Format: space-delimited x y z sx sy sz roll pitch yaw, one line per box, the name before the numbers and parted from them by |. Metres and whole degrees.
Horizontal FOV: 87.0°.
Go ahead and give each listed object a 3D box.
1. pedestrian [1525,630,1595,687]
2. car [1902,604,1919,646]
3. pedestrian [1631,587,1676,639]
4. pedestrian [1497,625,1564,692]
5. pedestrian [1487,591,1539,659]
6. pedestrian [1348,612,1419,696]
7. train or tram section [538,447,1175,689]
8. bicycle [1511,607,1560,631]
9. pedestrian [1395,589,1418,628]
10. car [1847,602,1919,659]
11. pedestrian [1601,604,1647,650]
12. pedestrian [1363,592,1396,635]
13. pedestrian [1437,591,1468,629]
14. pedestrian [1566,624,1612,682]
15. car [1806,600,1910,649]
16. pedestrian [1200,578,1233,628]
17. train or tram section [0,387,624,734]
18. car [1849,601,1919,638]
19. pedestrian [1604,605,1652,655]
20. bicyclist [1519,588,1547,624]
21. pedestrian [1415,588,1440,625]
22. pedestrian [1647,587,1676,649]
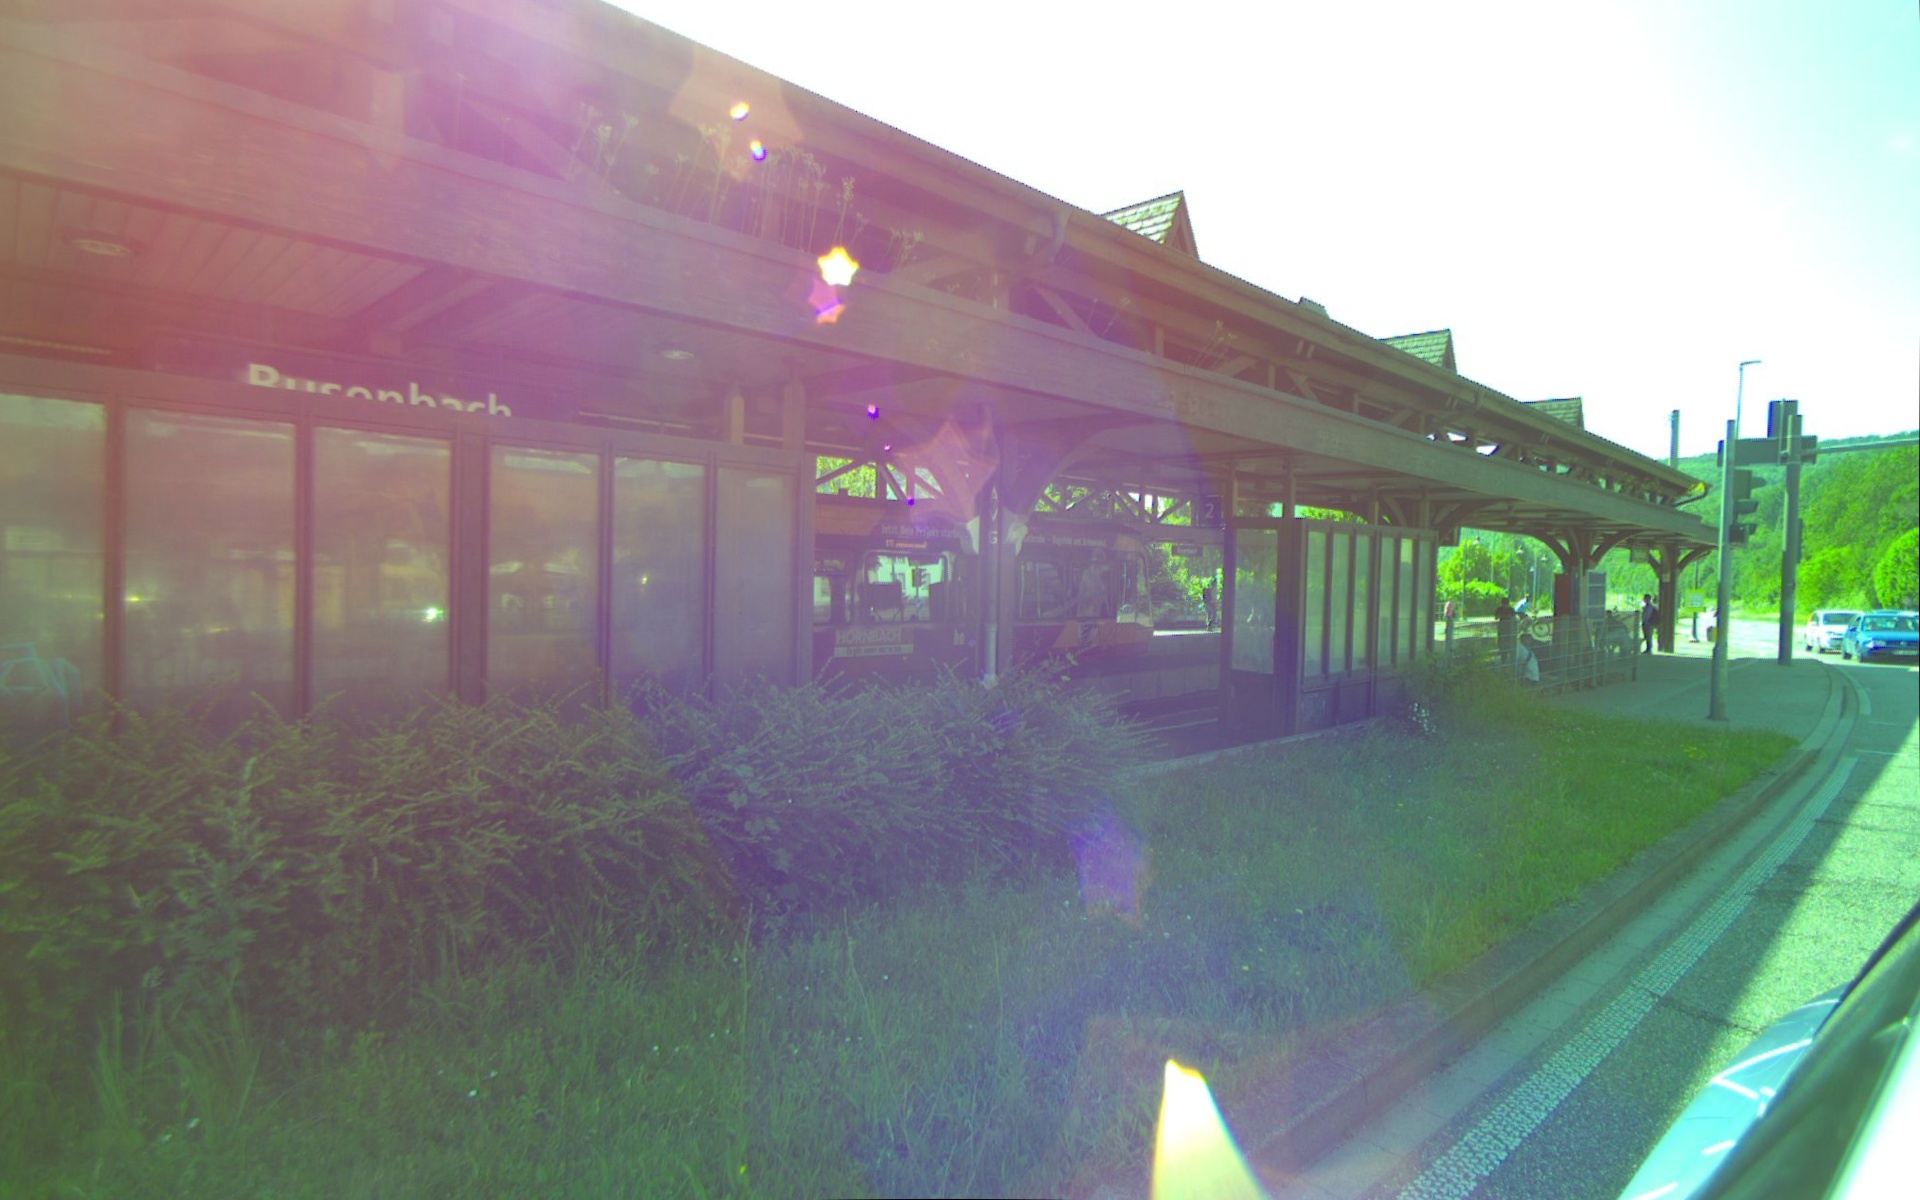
pedestrian | 9.768 0.937 16.480 0.844 0.885 0.795 -1 -2 42
car | 35.899 0.927 36.442 1.965 1.523 4.696 0 -1 31
pedestrian | 23.755 0.463 34.675 0.904 1.759 1.243 0 -2 18
pedestrian | 8.722 0.878 15.473 0.741 0.995 0.757 -1 -2 42
pedestrian | 13.240 0.594 24.238 0.860 1.567 0.908 1 -1 44
pedestrian | 5.898 0.734 14.096 0.741 1.131 0.657 -1 -2 42
train or tram section | -0.810 -0.461 20.283 2.857 3.407 14.121 0 0 45
bicycle | 25.597 0.837 45.033 1.804 1.069 0.595 -1 -1 39
pedestrian | 19.840 0.379 45.010 0.895 1.706 0.815 -1 -2 26
car | 27.160 0.851 29.102 1.853 1.501 4.250 1 1 33
pedestrian | 17.703 0.695 26.986 1.003 1.174 0.937 1 0 36
pedestrian | 18.604 0.611 44.873 1.054 1.867 0.989 3 -2 -41
pedestrian | 22.061 0.462 45.329 0.805 1.706 0.905 1 -2 -16
pedestrian | 10.890 0.906 17.524 0.616 0.978 0.400 -1 -2 42
car | 31.156 0.812 35.248 1.984 1.605 3.955 -1 -1 31
pedestrian | 8.908 0.104 35.121 0.888 1.706 0.735 2 -2 -41
train or tram section | -10.018 -0.377 11.282 11.845 3.407 2.789 0 -1 -43
car | 39.958 0.825 43.467 1.965 1.523 3.941 0 -1 32
pedestrian | 17.096 0.773 25.915 0.988 1.252 0.589 -1 -2 36
bicyclist | 25.518 0.258 45.094 0.942 1.589 0.776 -1 -1 40
pedestrian | 21.396 0.304 46.315 0.864 1.706 0.810 -1 -2 42
pedestrian | 19.815 0.493 28.590 0.655 1.713 0.730 1 0 36
